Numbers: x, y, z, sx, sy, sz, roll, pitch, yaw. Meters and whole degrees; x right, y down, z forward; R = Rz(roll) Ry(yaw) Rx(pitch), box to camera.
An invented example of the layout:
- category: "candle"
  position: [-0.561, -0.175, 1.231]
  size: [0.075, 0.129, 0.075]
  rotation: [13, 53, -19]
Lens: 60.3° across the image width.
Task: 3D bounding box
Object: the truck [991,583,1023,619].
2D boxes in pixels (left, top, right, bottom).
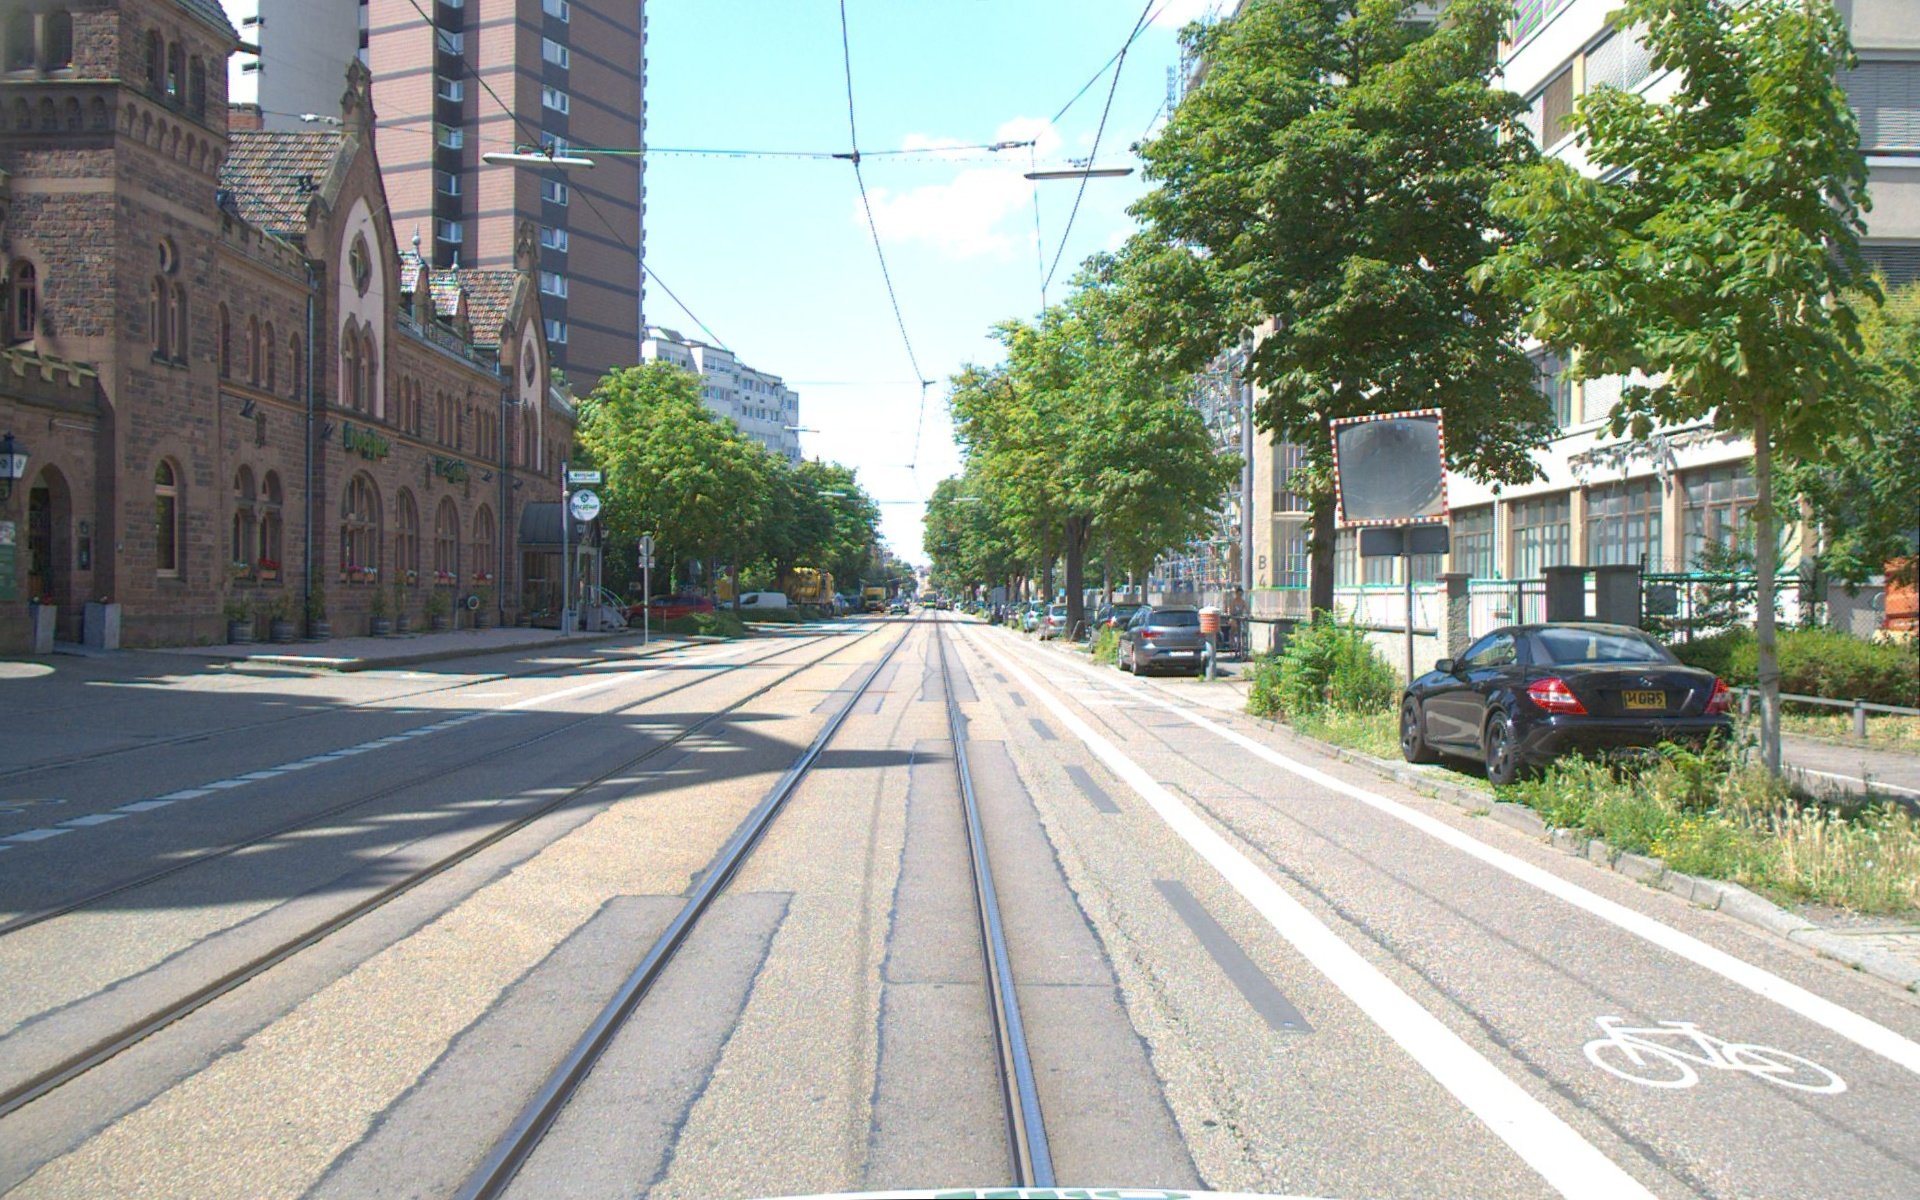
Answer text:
- category: "truck"
  position: [3.400, 0.044, 120.598]
  size: [1.973, 2.532, 5.954]
  rotation: [0, 0, -1]

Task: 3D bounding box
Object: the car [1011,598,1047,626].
- category: "car"
  position: [3.689, 0.611, 88.888]
  size: [1.637, 1.463, 4.040]
  rotation: [0, 0, -2]

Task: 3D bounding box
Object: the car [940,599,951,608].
- category: "car"
  position: [-2.329, 0.494, 260.274]
  size: [1.745, 1.369, 3.415]
  rotation: [0, 0, -1]

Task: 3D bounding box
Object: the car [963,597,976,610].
- category: "car"
  position: [1.201, 0.443, 215.017]
  size: [1.560, 1.645, 3.906]
  rotation: [0, -1, -1]

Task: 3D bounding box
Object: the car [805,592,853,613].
- category: "car"
  position: [-12.921, 0.260, 162.970]
  size: [1.887, 1.968, 4.729]
  rotation: [-2, -1, 41]

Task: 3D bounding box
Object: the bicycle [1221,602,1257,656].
- category: "bicycle"
  position: [6.902, 0.701, 40.985]
  size: [0.543, 1.287, 1.773]
  rotation: [-2, 0, -1]

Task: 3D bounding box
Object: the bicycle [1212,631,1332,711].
- category: "bicycle"
  position: [4.320, 0.976, 22.978]
  size: [1.553, 1.078, 0.562]
  rotation: [0, 0, -2]

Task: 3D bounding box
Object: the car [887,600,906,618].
- category: "car"
  position: [-6.463, 0.895, 168.129]
  size: [1.793, 1.710, 4.184]
  rotation: [0, 0, -1]

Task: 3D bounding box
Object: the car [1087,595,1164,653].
- category: "car"
  position: [4.548, 0.629, 45.937]
  size: [1.637, 1.515, 3.979]
  rotation: [0, 0, -2]

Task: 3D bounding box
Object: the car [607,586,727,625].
- category: "car"
  position: [-12.610, 0.237, 71.247]
  size: [4.713, 1.594, 1.982]
  rotation: [1, 0, -30]

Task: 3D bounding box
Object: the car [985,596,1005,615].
- category: "car"
  position: [2.938, 0.464, 140.050]
  size: [1.610, 1.561, 3.785]
  rotation: [0, 0, 1]

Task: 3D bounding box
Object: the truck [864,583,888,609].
- category: "truck"
  position: [-9.623, -0.429, 189.776]
  size: [2.312, 2.902, 7.378]
  rotation: [-1, 0, 1]

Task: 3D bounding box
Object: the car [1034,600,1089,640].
- category: "car"
  position: [4.035, 0.776, 66.366]
  size: [1.638, 1.525, 4.362]
  rotation: [0, 0, -4]

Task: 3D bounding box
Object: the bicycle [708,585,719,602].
- category: "bicycle"
  position: [-16.146, -0.438, 108.532]
  size: [0.507, 1.065, 1.875]
  rotation: [2, 0, -3]

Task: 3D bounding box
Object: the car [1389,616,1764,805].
- category: "car"
  position: [5.063, 0.836, 14.154]
  size: [1.716, 1.292, 3.833]
  rotation: [2, 0, -1]

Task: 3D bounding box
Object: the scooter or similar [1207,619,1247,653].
- category: "scooter or similar"
  position: [6.882, 0.919, 42.637]
  size: [0.746, 0.821, 1.555]
  rotation: [-1, 0, -1]

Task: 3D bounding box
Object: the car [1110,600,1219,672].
- category: "car"
  position: [4.389, 0.729, 36.094]
  size: [1.637, 1.432, 4.747]
  rotation: [0, 0, -2]

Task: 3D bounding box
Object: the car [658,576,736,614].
- category: "car"
  position: [-19.869, -0.356, 125.117]
  size: [2.137, 2.611, 6.712]
  rotation: [1, -1, 29]

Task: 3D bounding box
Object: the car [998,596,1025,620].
- category: "car"
  position: [3.428, 0.518, 109.898]
  size: [1.786, 1.497, 4.401]
  rotation: [0, 0, 2]

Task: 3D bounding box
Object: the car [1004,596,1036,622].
- category: "car"
  position: [3.582, 0.537, 98.959]
  size: [1.787, 1.497, 4.486]
  rotation: [0, 0, 0]

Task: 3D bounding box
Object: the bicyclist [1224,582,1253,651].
- category: "bicyclist"
  position: [6.874, 0.391, 40.814]
  size: [0.569, 1.677, 0.599]
  rotation: [-1, 0, -1]

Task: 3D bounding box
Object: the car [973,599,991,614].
- category: "car"
  position: [2.279, 0.662, 174.000]
  size: [1.606, 1.511, 3.870]
  rotation: [0, -1, -4]

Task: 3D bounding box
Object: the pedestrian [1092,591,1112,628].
- category: "pedestrian"
  position: [6.464, 0.425, 75.155]
  size: [0.783, 1.616, 0.919]
  rotation: [-1, 0, -2]

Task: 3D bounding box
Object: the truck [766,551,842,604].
- category: "truck"
  position: [-12.466, -1.727, 133.361]
  size: [2.657, 3.909, 10.972]
  rotation: [2, -1, 13]

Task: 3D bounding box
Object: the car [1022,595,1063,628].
- category: "car"
  position: [3.937, 0.539, 79.354]
  size: [1.637, 1.544, 4.200]
  rotation: [0, 0, -2]

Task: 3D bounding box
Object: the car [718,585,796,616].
- category: "car"
  position: [-12.720, 0.030, 103.943]
  size: [4.492, 1.822, 1.879]
  rotation: [2, 0, -34]

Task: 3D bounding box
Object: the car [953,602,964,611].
- category: "car"
  position: [-0.232, 0.998, 252.492]
  size: [1.676, 1.448, 4.308]
  rotation: [0, -1, -1]
